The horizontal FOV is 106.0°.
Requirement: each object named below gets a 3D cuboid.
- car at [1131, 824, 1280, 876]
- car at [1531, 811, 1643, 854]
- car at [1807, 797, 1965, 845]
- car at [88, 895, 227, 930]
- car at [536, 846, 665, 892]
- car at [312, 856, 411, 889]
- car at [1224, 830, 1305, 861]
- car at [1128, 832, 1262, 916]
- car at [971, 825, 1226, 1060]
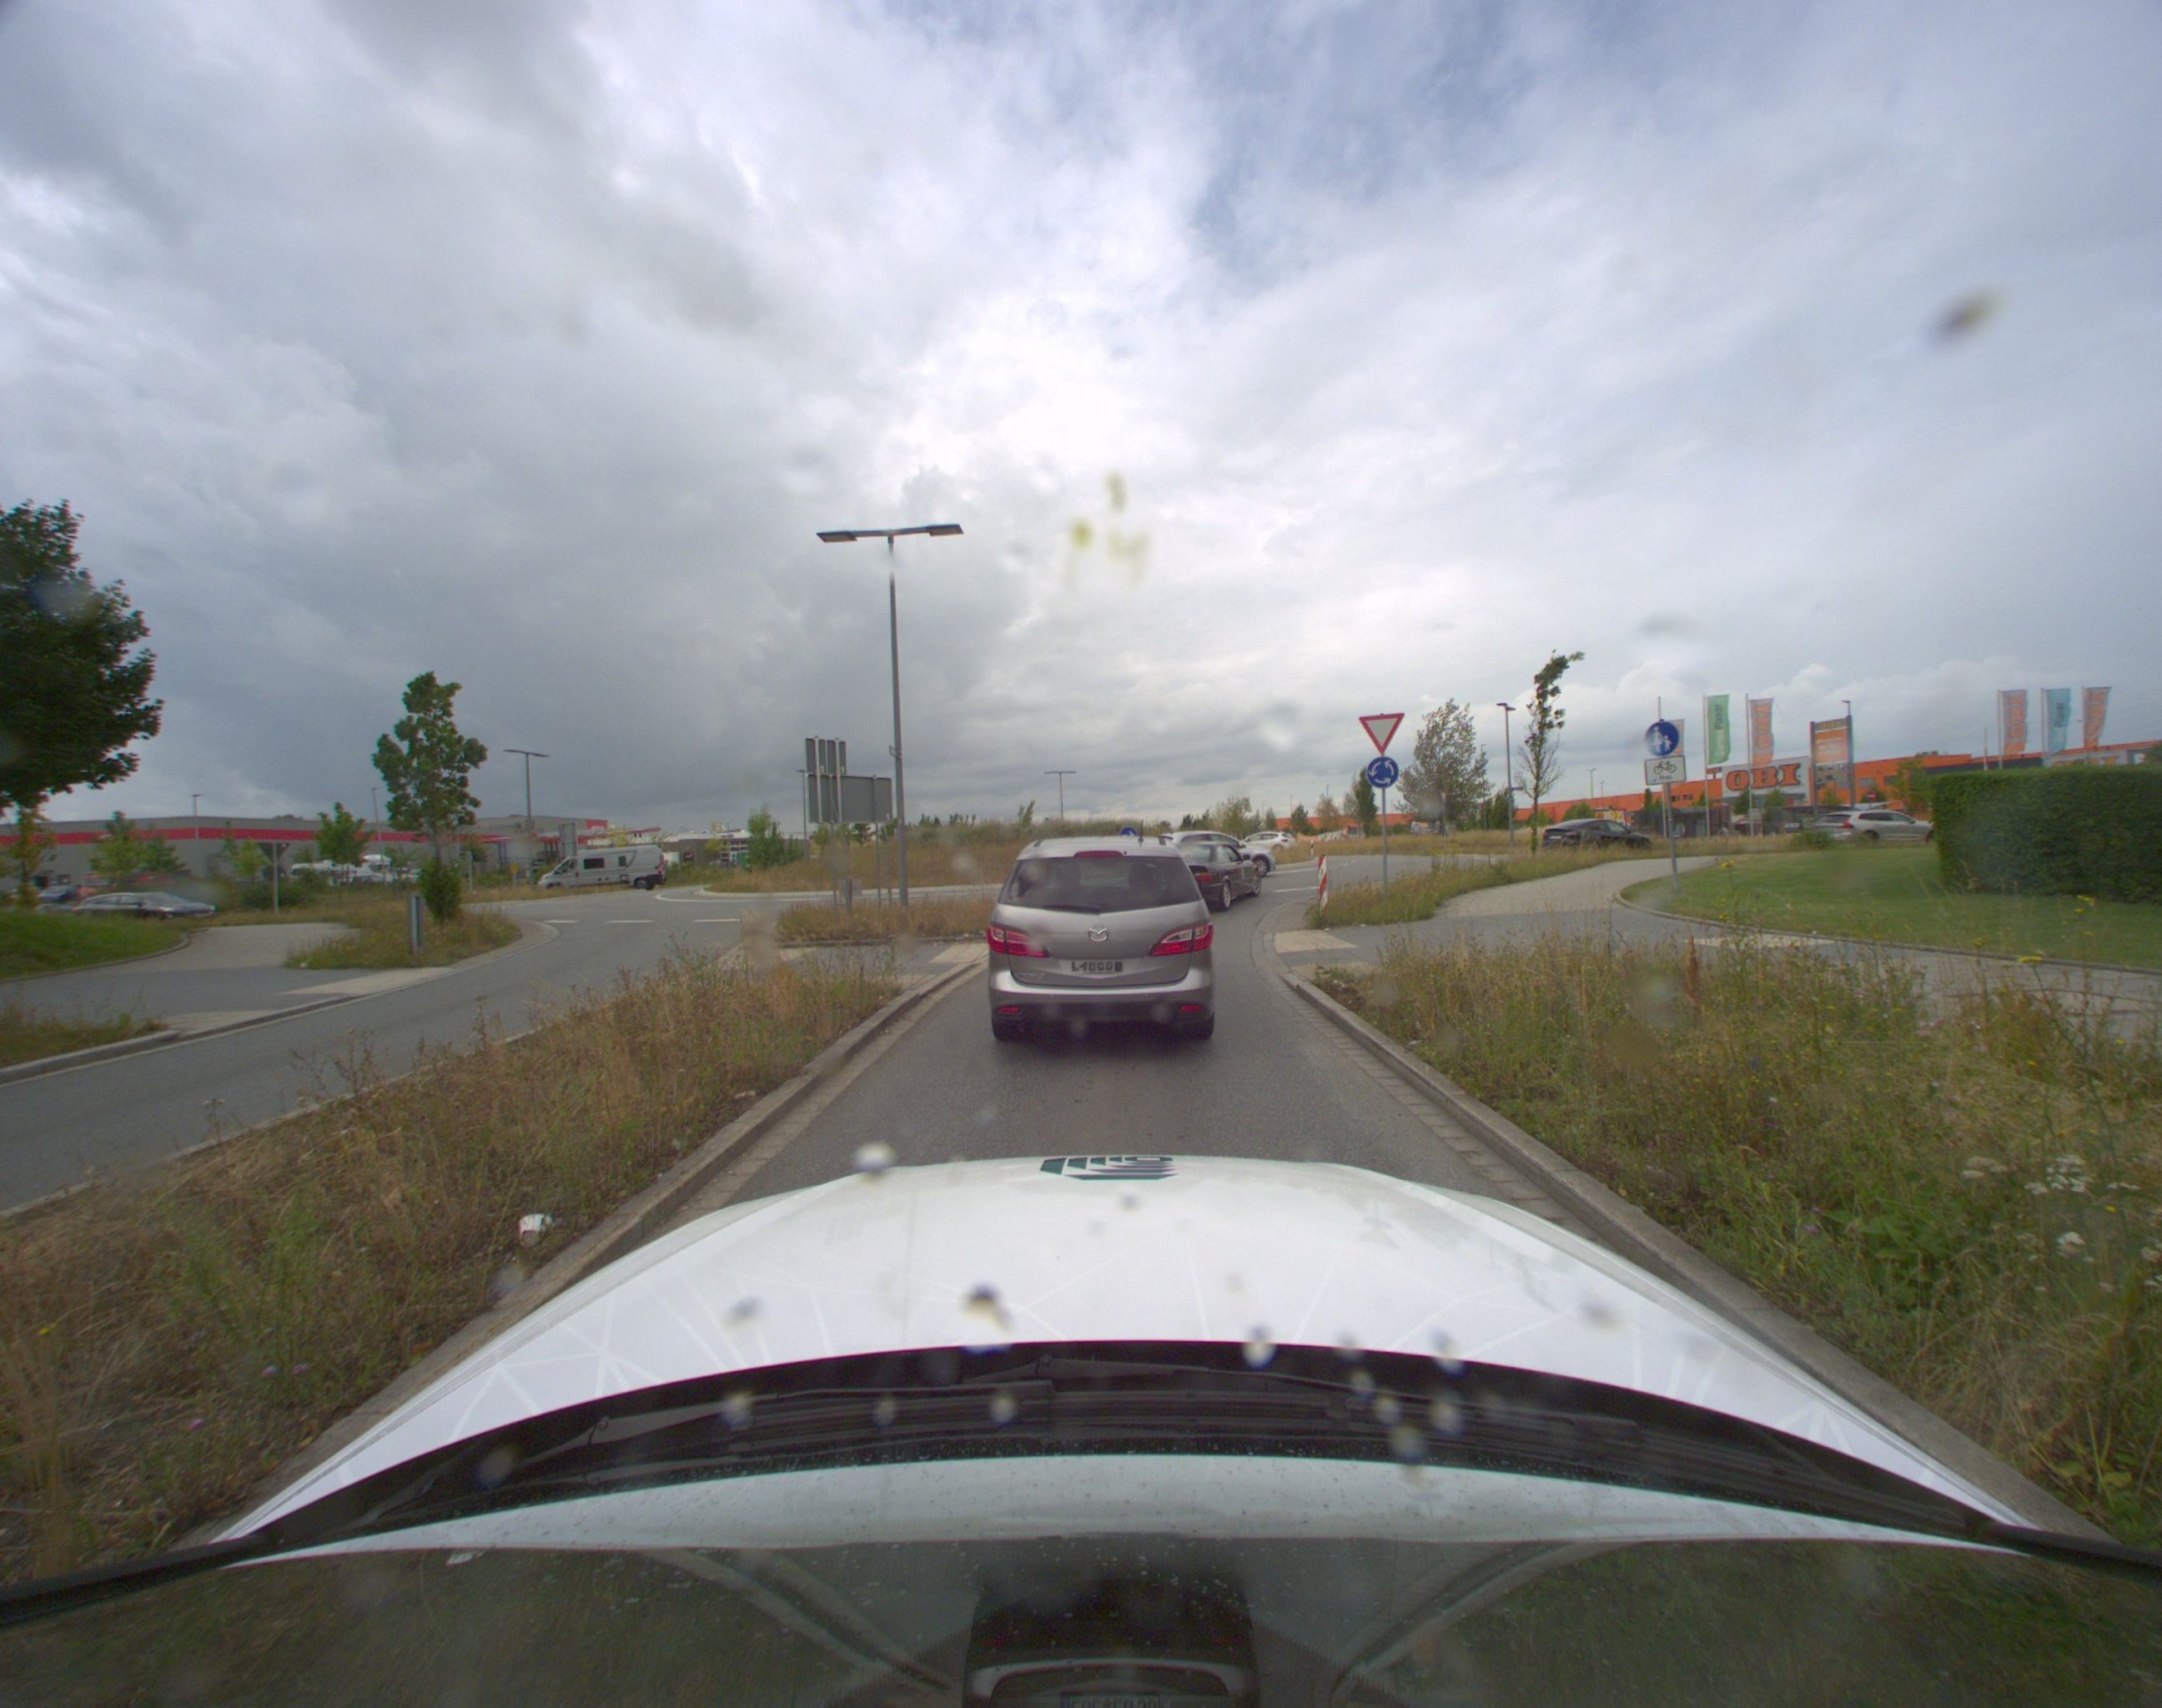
[{"bbox_3d":[3.680,-0.099,24.194,3.997,1.464,1.802,0,-1,-18],"label":"car"},{"bbox_3d":[20.861,-0.901,33.536,4.791,1.498,1.925,-4,2,-31],"label":"car"},{"bbox_3d":[34.545,-1.425,35.055,4.738,1.738,1.947,-3,2,4],"label":"car"},{"bbox_3d":[-36.878,2.313,32.603,3.573,1.251,1.676,-1,-1,-1],"label":"car"},{"bbox_3d":[-25.821,0.793,44.058,5.715,2.387,2.264,0,-1,-22],"label":"car"},{"bbox_3d":[-66.529,1.699,75.573,2.455,2.820,7.686,-1,-1,-1],"label":"car"},{"bbox_3d":[10.966,-0.512,48.867,4.284,1.648,1.883,-2,2,33],"label":"car"},{"bbox_3d":[2.514,0.317,17.064,1.722,1.403,4.021,0,3,24],"label":"car"},{"bbox_3d":[0.197,0.580,7.570,1.731,1.598,4.000,0,1,2],"label":"car"}]
